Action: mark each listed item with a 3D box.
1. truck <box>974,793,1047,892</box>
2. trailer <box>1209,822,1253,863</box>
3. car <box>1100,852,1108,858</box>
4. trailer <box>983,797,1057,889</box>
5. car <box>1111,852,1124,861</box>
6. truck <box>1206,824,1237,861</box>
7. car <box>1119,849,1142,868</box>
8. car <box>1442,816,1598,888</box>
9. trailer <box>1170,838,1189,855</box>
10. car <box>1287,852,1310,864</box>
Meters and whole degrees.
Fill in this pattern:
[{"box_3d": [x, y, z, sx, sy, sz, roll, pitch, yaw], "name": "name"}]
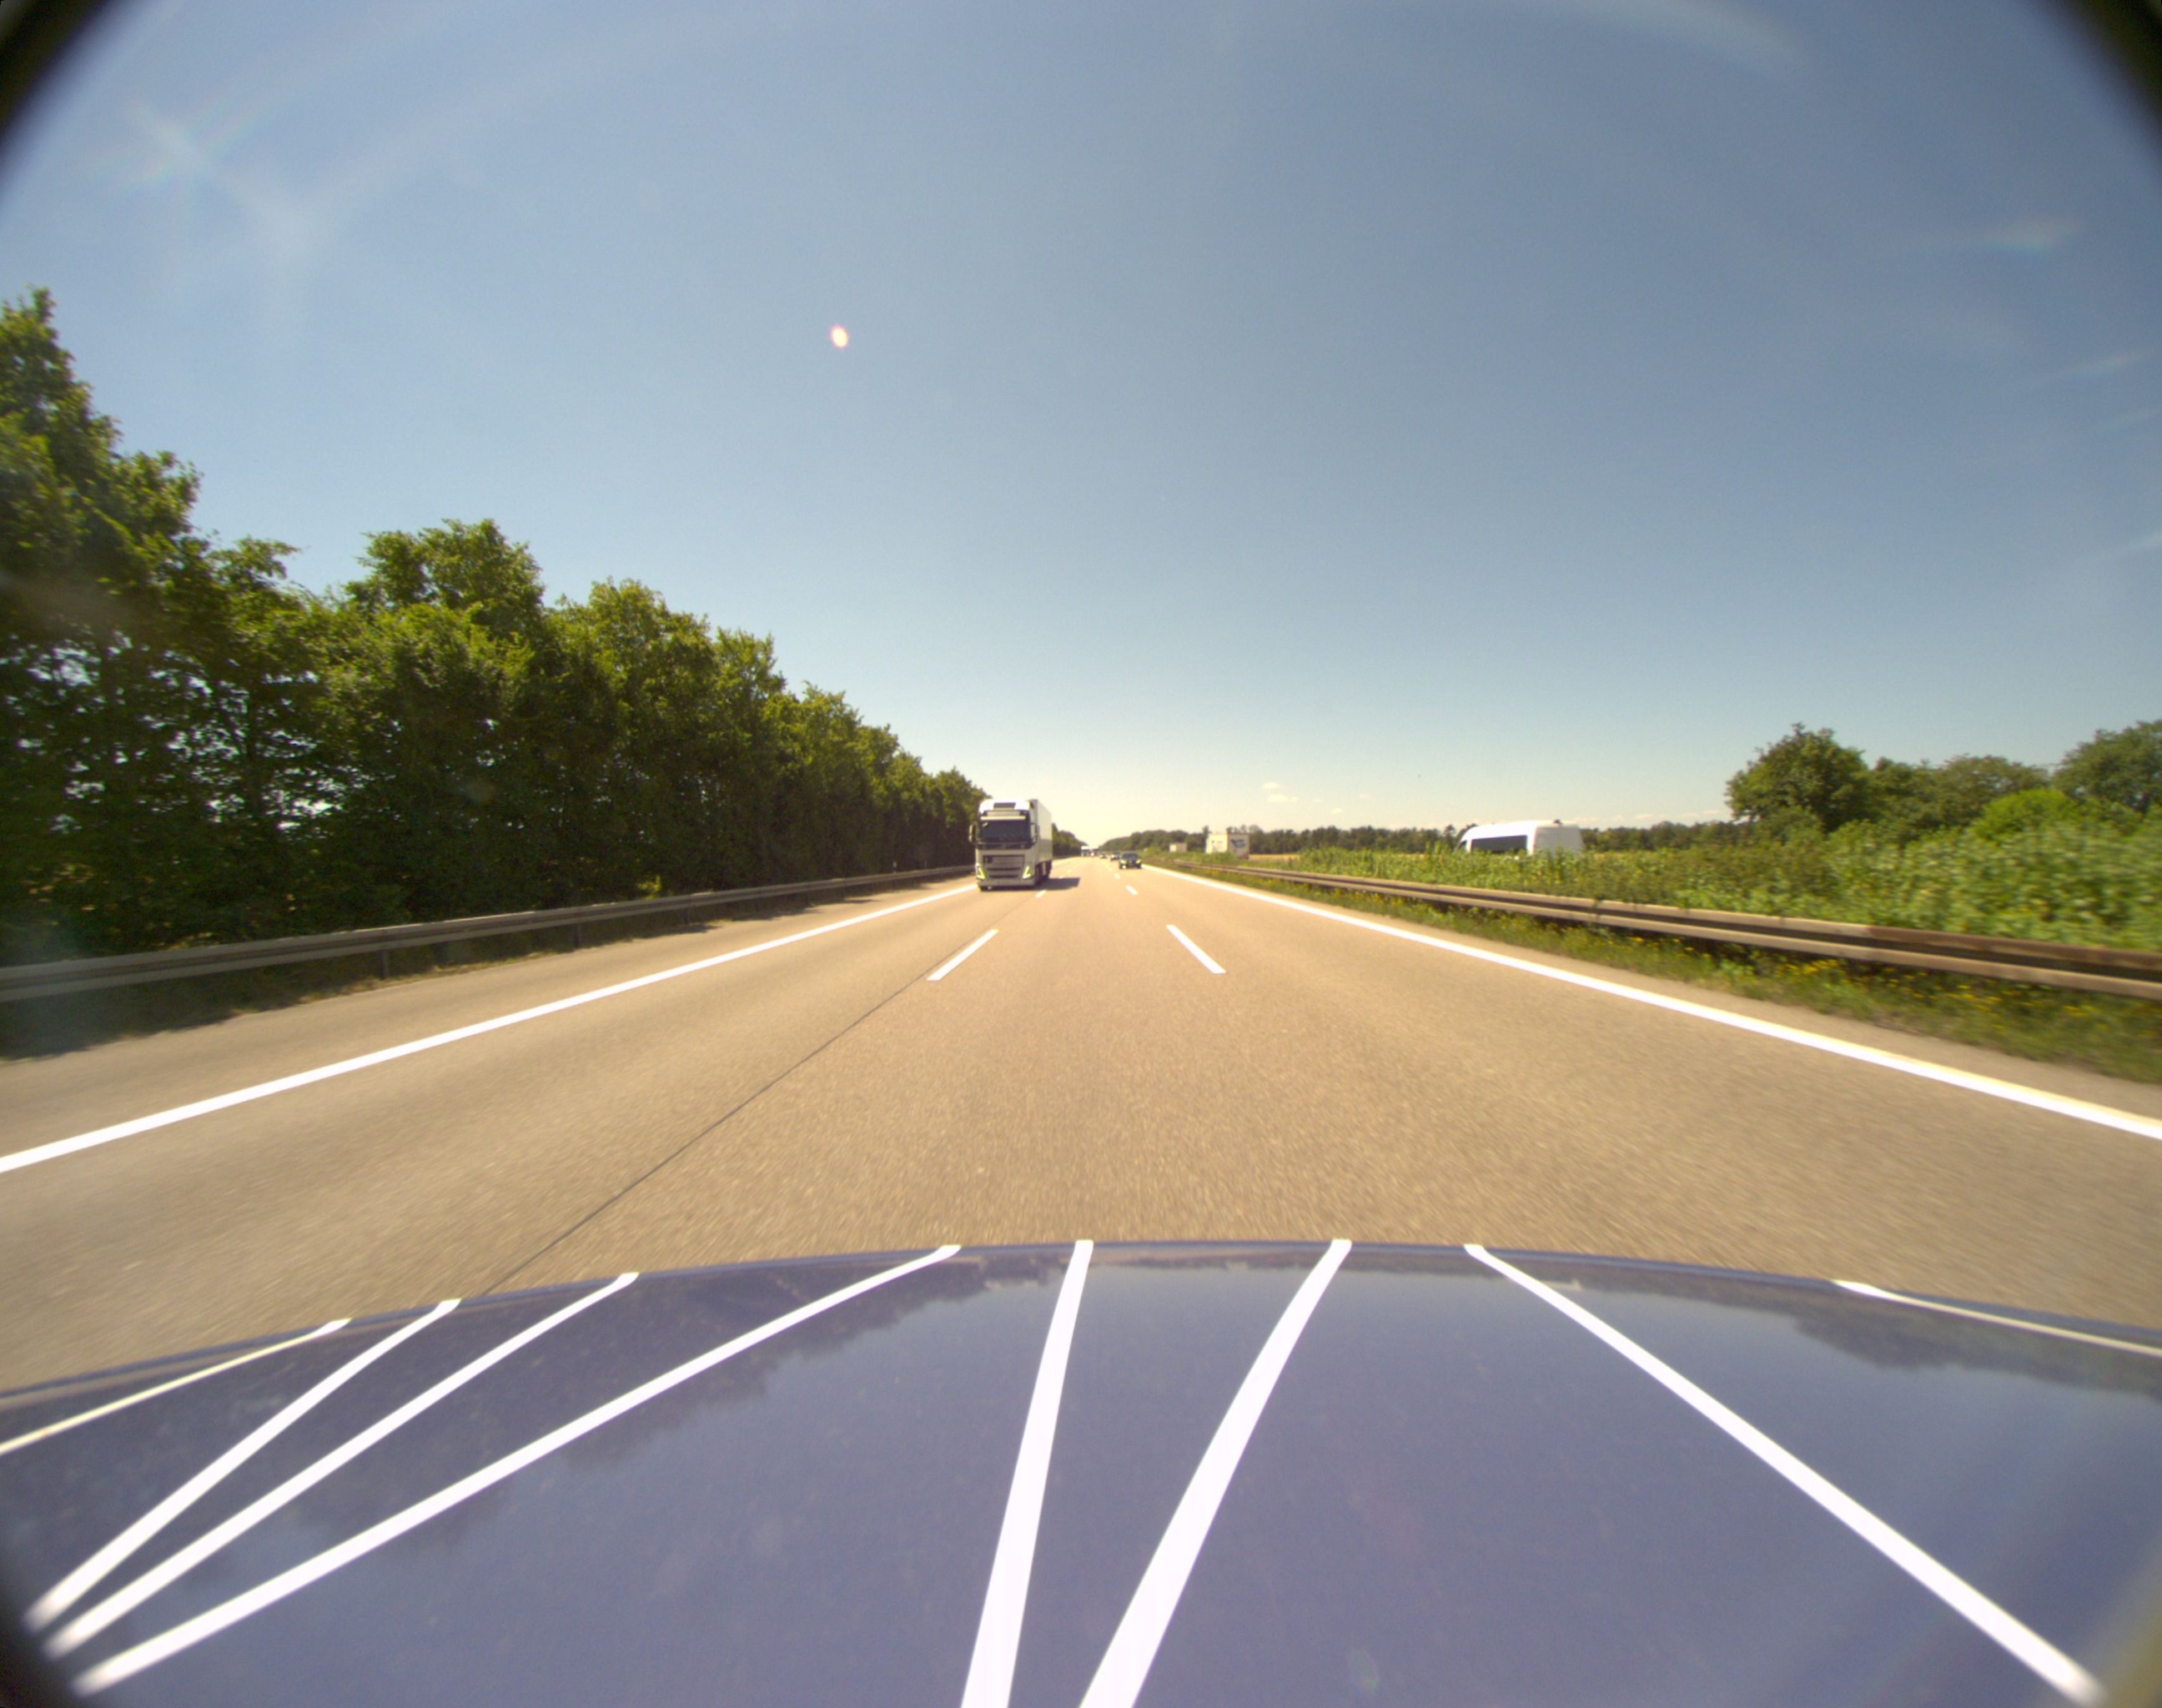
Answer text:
[{"box_3d": [-3.073, -0.517, 34.855, 2.476, 4.039, 6.319, -2, 1, 1], "name": "truck"}, {"box_3d": [18.172, -1.402, 93.051, 2.828, 4.500, 13.865, -2, 1, 1], "name": "trailer"}, {"box_3d": [5.347, 0.215, 176.150, 1.811, 1.417, 4.000, -2, 1, 1], "name": "car"}, {"box_3d": [-2.953, -0.576, 41.246, 2.476, 4.039, 13.879, -2, 1, 1], "name": "trailer"}, {"box_3d": [5.877, 0.368, 123.028, 1.811, 1.417, 4.000, -2, 1, 1], "name": "car"}, {"box_3d": [18.302, -1.456, 99.308, 2.828, 4.500, 6.538, -2, 1, 1], "name": "truck"}, {"box_3d": [4.323, 0.376, 66.621, 1.811, 1.459, 4.000, -2, 1, 1], "name": "car"}, {"box_3d": [16.559, -0.104, 29.247, 2.085, 2.380, 6.732, -2, 1, 0], "name": "car"}, {"box_3d": [24.080, -1.826, 186.363, 3.066, 4.035, 13.955, -2, 1, 1], "name": "trailer"}, {"box_3d": [27.756, 0.544, 97.221, 1.811, 1.417, 4.000, -2, 1, 1], "name": "car"}]
